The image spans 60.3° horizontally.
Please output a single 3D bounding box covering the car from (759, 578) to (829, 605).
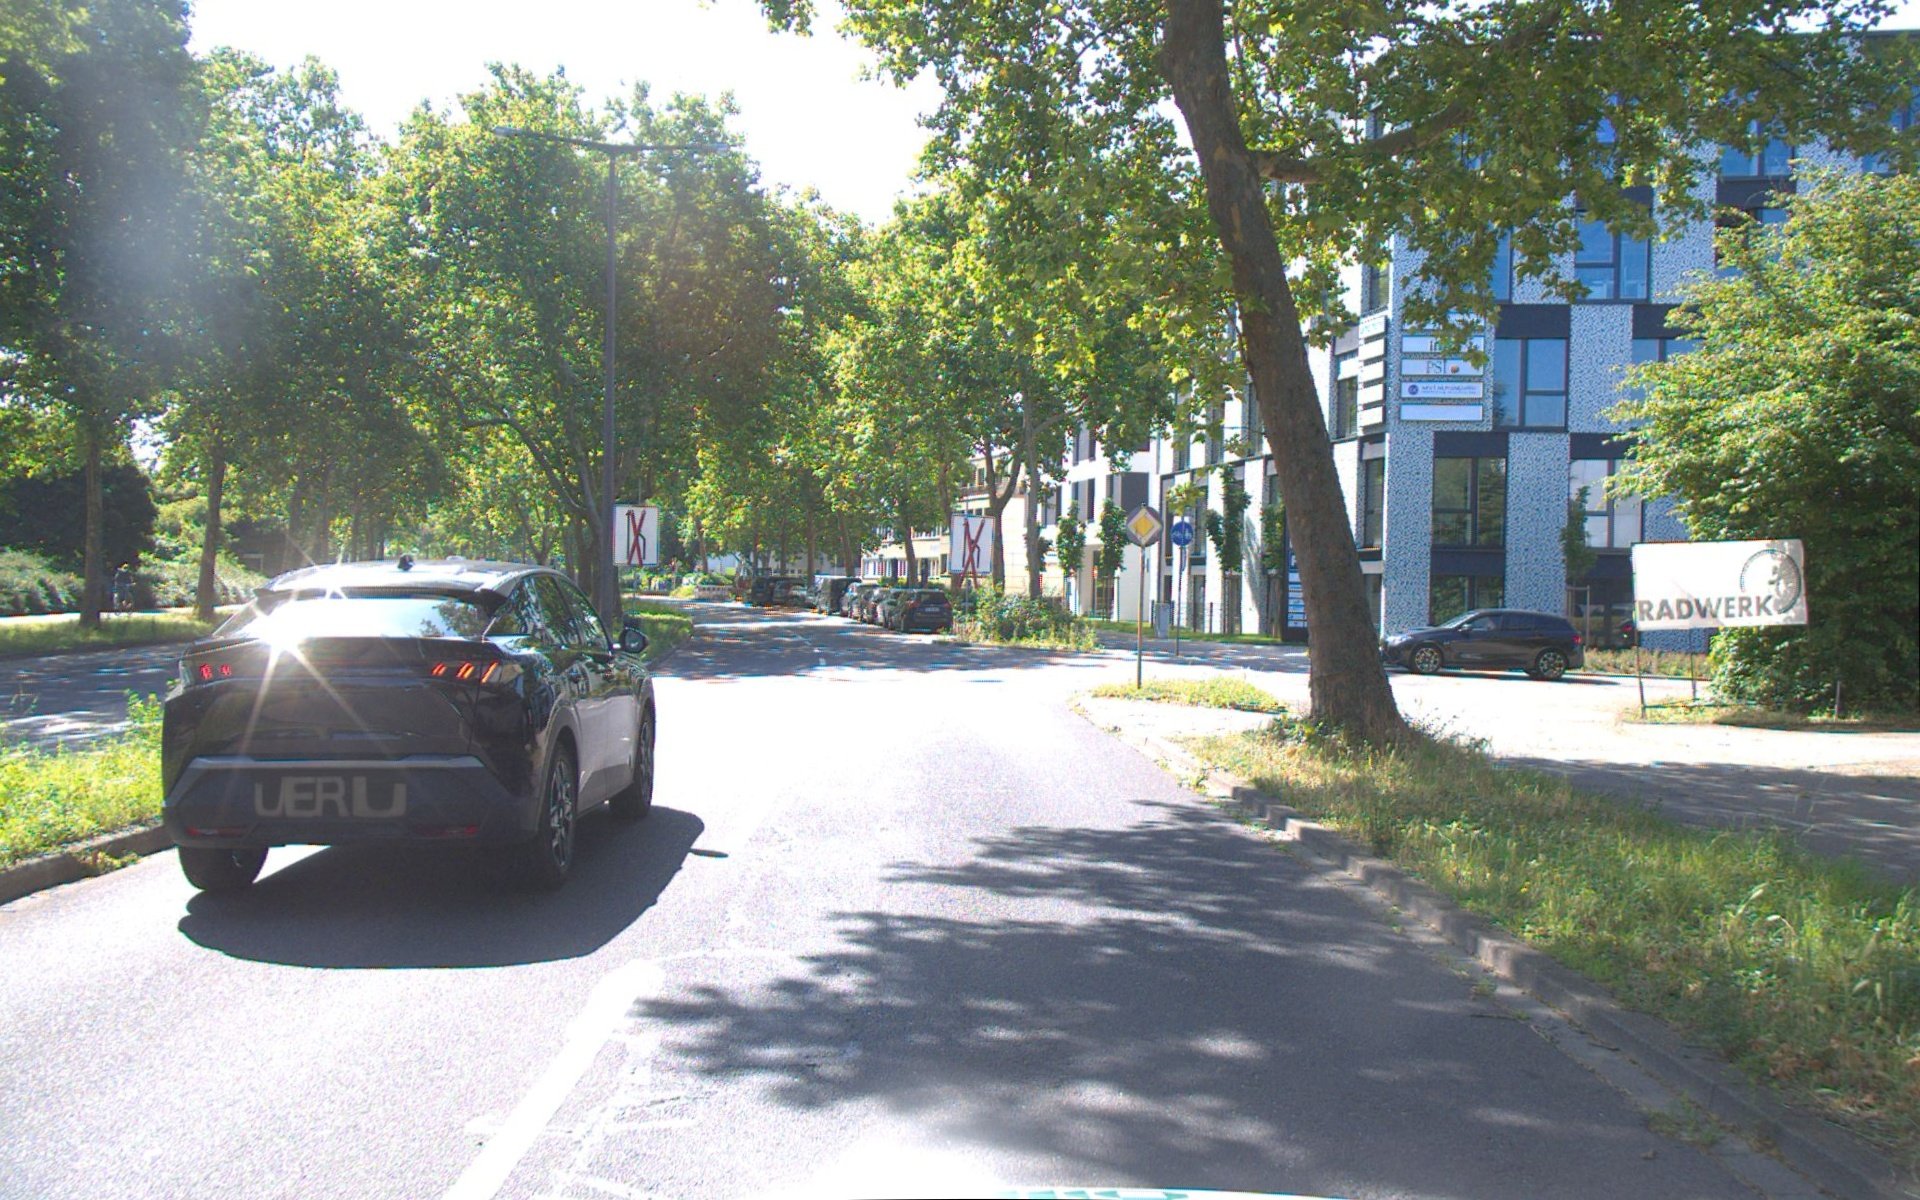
[{"bbox_3d":[-10.540,-0.531,105.128,4.055,1.662,1.696,1,0,-30],"label":"car"}]

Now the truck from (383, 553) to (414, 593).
[{"bbox_3d":[-53.047,-2.593,156.144,2.415,3.509,7.055,3,1,-21],"label":"truck"}]

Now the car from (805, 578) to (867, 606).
[{"bbox_3d":[-7.564,-0.479,100.920,3.495,1.668,1.652,1,0,-17],"label":"car"}]

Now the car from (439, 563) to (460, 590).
[{"bbox_3d":[-71.105,-3.240,230.471,2.413,3.509,7.060,3,1,-19],"label":"car"}]

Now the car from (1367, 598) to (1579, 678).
[{"bbox_3d":[11.223,0.815,36.480,4.157,1.544,2.002,2,0,8],"label":"car"}]

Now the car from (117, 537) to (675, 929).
[{"bbox_3d":[-2.871,0.592,9.543,1.834,1.726,4.433,0,0,-2],"label":"car"}]

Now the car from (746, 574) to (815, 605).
[{"bbox_3d":[-11.582,-0.670,106.732,4.058,1.912,1.766,1,0,-31],"label":"car"}]

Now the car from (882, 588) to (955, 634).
[{"bbox_3d":[-1.499,0.349,57.703,1.677,1.513,4.704,0,1,-12],"label":"car"}]

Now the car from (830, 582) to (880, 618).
[{"bbox_3d":[-5.138,-0.019,80.334,1.677,1.698,4.518,1,0,-13],"label":"car"}]

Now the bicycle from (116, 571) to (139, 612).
[{"bbox_3d":[-29.166,-0.304,57.953,0.420,1.409,0.953,1,0,-9],"label":"bicycle"}]

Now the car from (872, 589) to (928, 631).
[{"bbox_3d":[-2.345,0.367,63.726,1.675,1.513,4.093,1,0,-8],"label":"car"}]

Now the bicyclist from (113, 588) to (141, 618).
[{"bbox_3d":[-29.176,0.096,57.930,0.420,1.031,1.422,1,0,-8],"label":"bicyclist"}]

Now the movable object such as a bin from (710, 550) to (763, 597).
[{"bbox_3d":[-16.018,-1.912,118.349,2.312,3.297,3.384,1,0,-38],"label":"movable object such as a bin"}]

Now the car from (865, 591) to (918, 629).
[{"bbox_3d":[-2.859,0.397,68.113,1.675,1.480,4.647,1,0,-8],"label":"car"}]

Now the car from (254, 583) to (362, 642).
[{"bbox_3d":[-18.432,0.332,46.947,1.760,1.583,4.389,0,0,-7],"label":"car"}]
